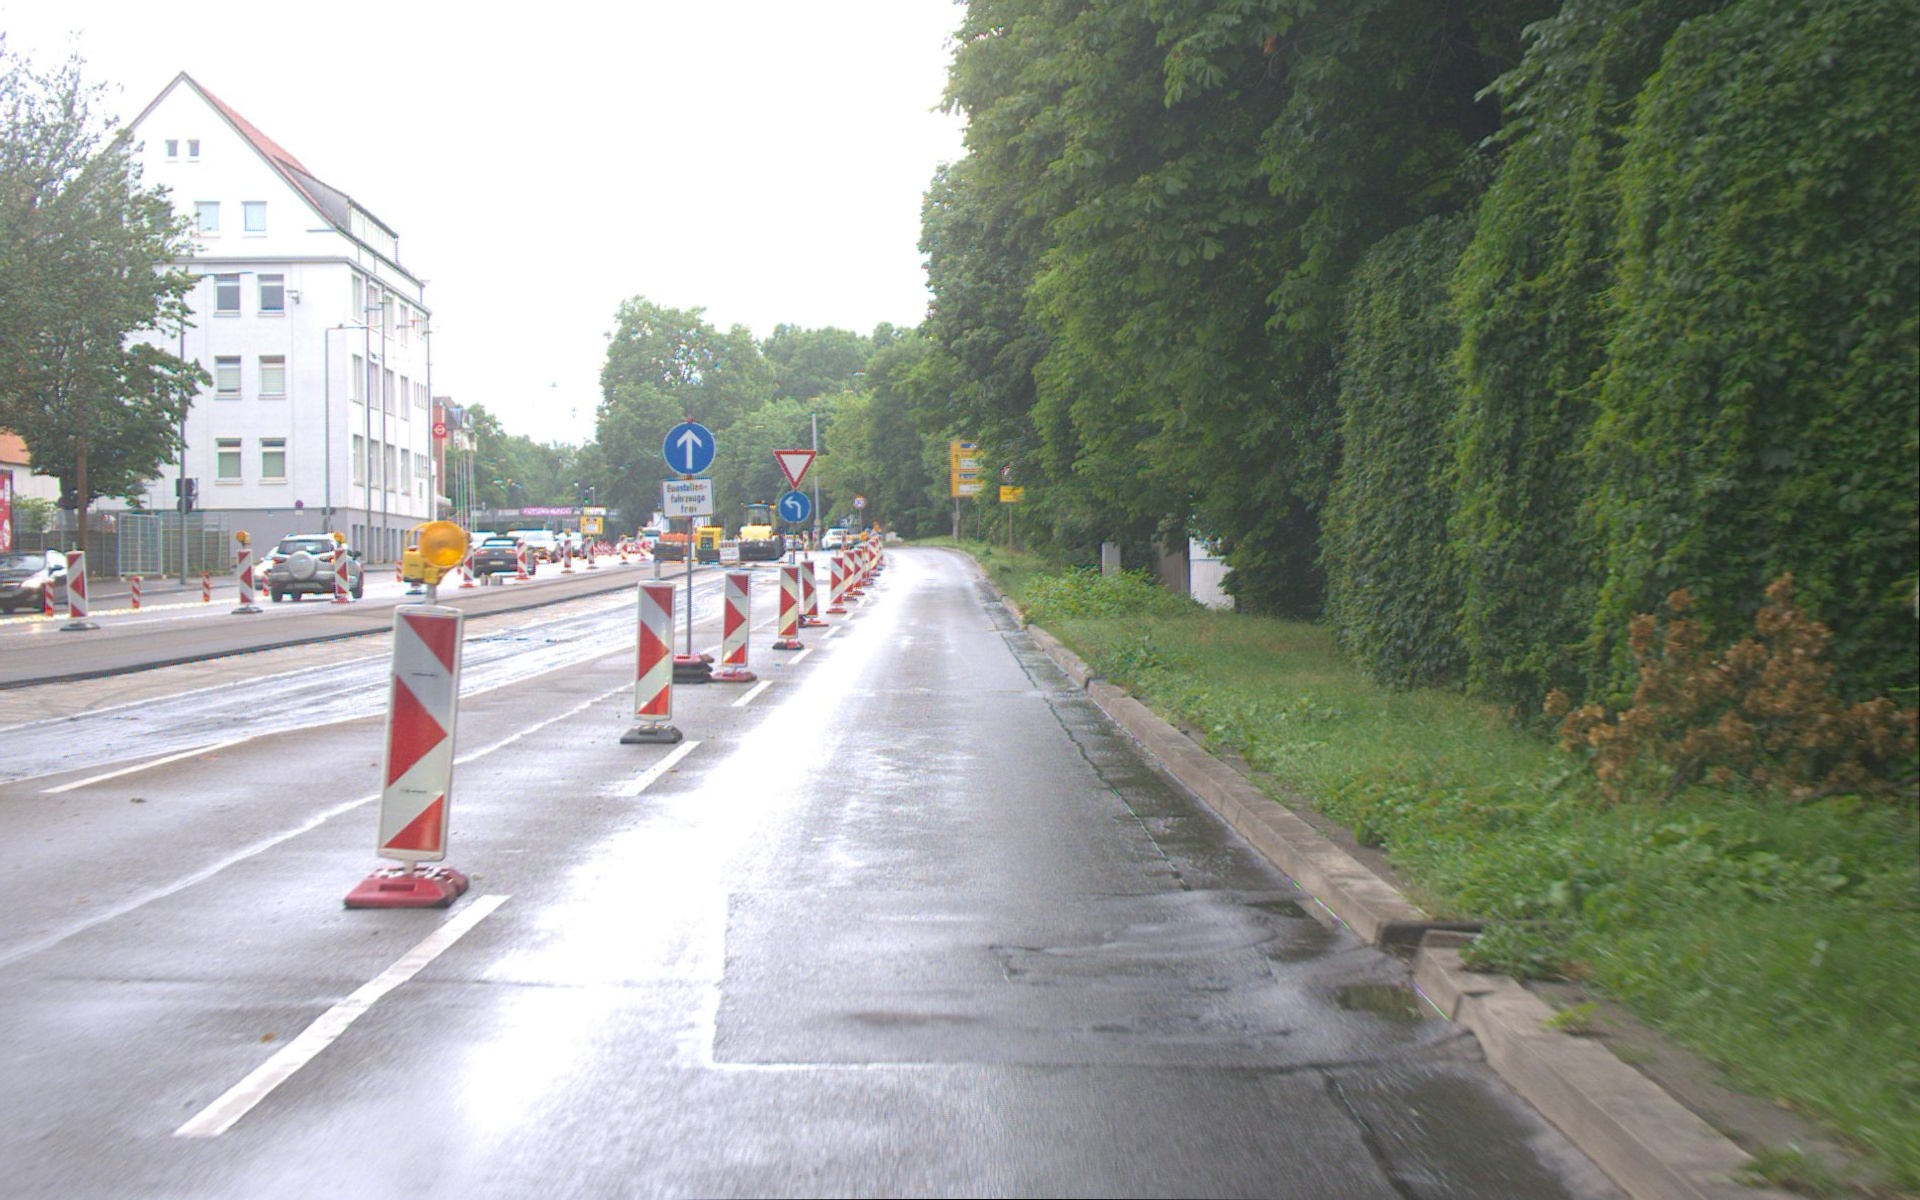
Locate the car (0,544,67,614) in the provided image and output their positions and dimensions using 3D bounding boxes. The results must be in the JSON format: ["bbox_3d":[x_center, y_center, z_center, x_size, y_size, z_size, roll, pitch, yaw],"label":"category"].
[{"bbox_3d":[-22.199,-0.506,79.306,1.993,1.581,4.619,0,1,0],"label":"car"}]

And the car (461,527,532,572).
[{"bbox_3d":[-16.307,-1.774,121.225,1.993,1.514,4.000,1,1,-1],"label":"car"}]

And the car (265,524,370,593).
[{"bbox_3d":[-15.725,-1.016,84.278,1.854,1.642,4.000,1,1,0],"label":"car"}]
